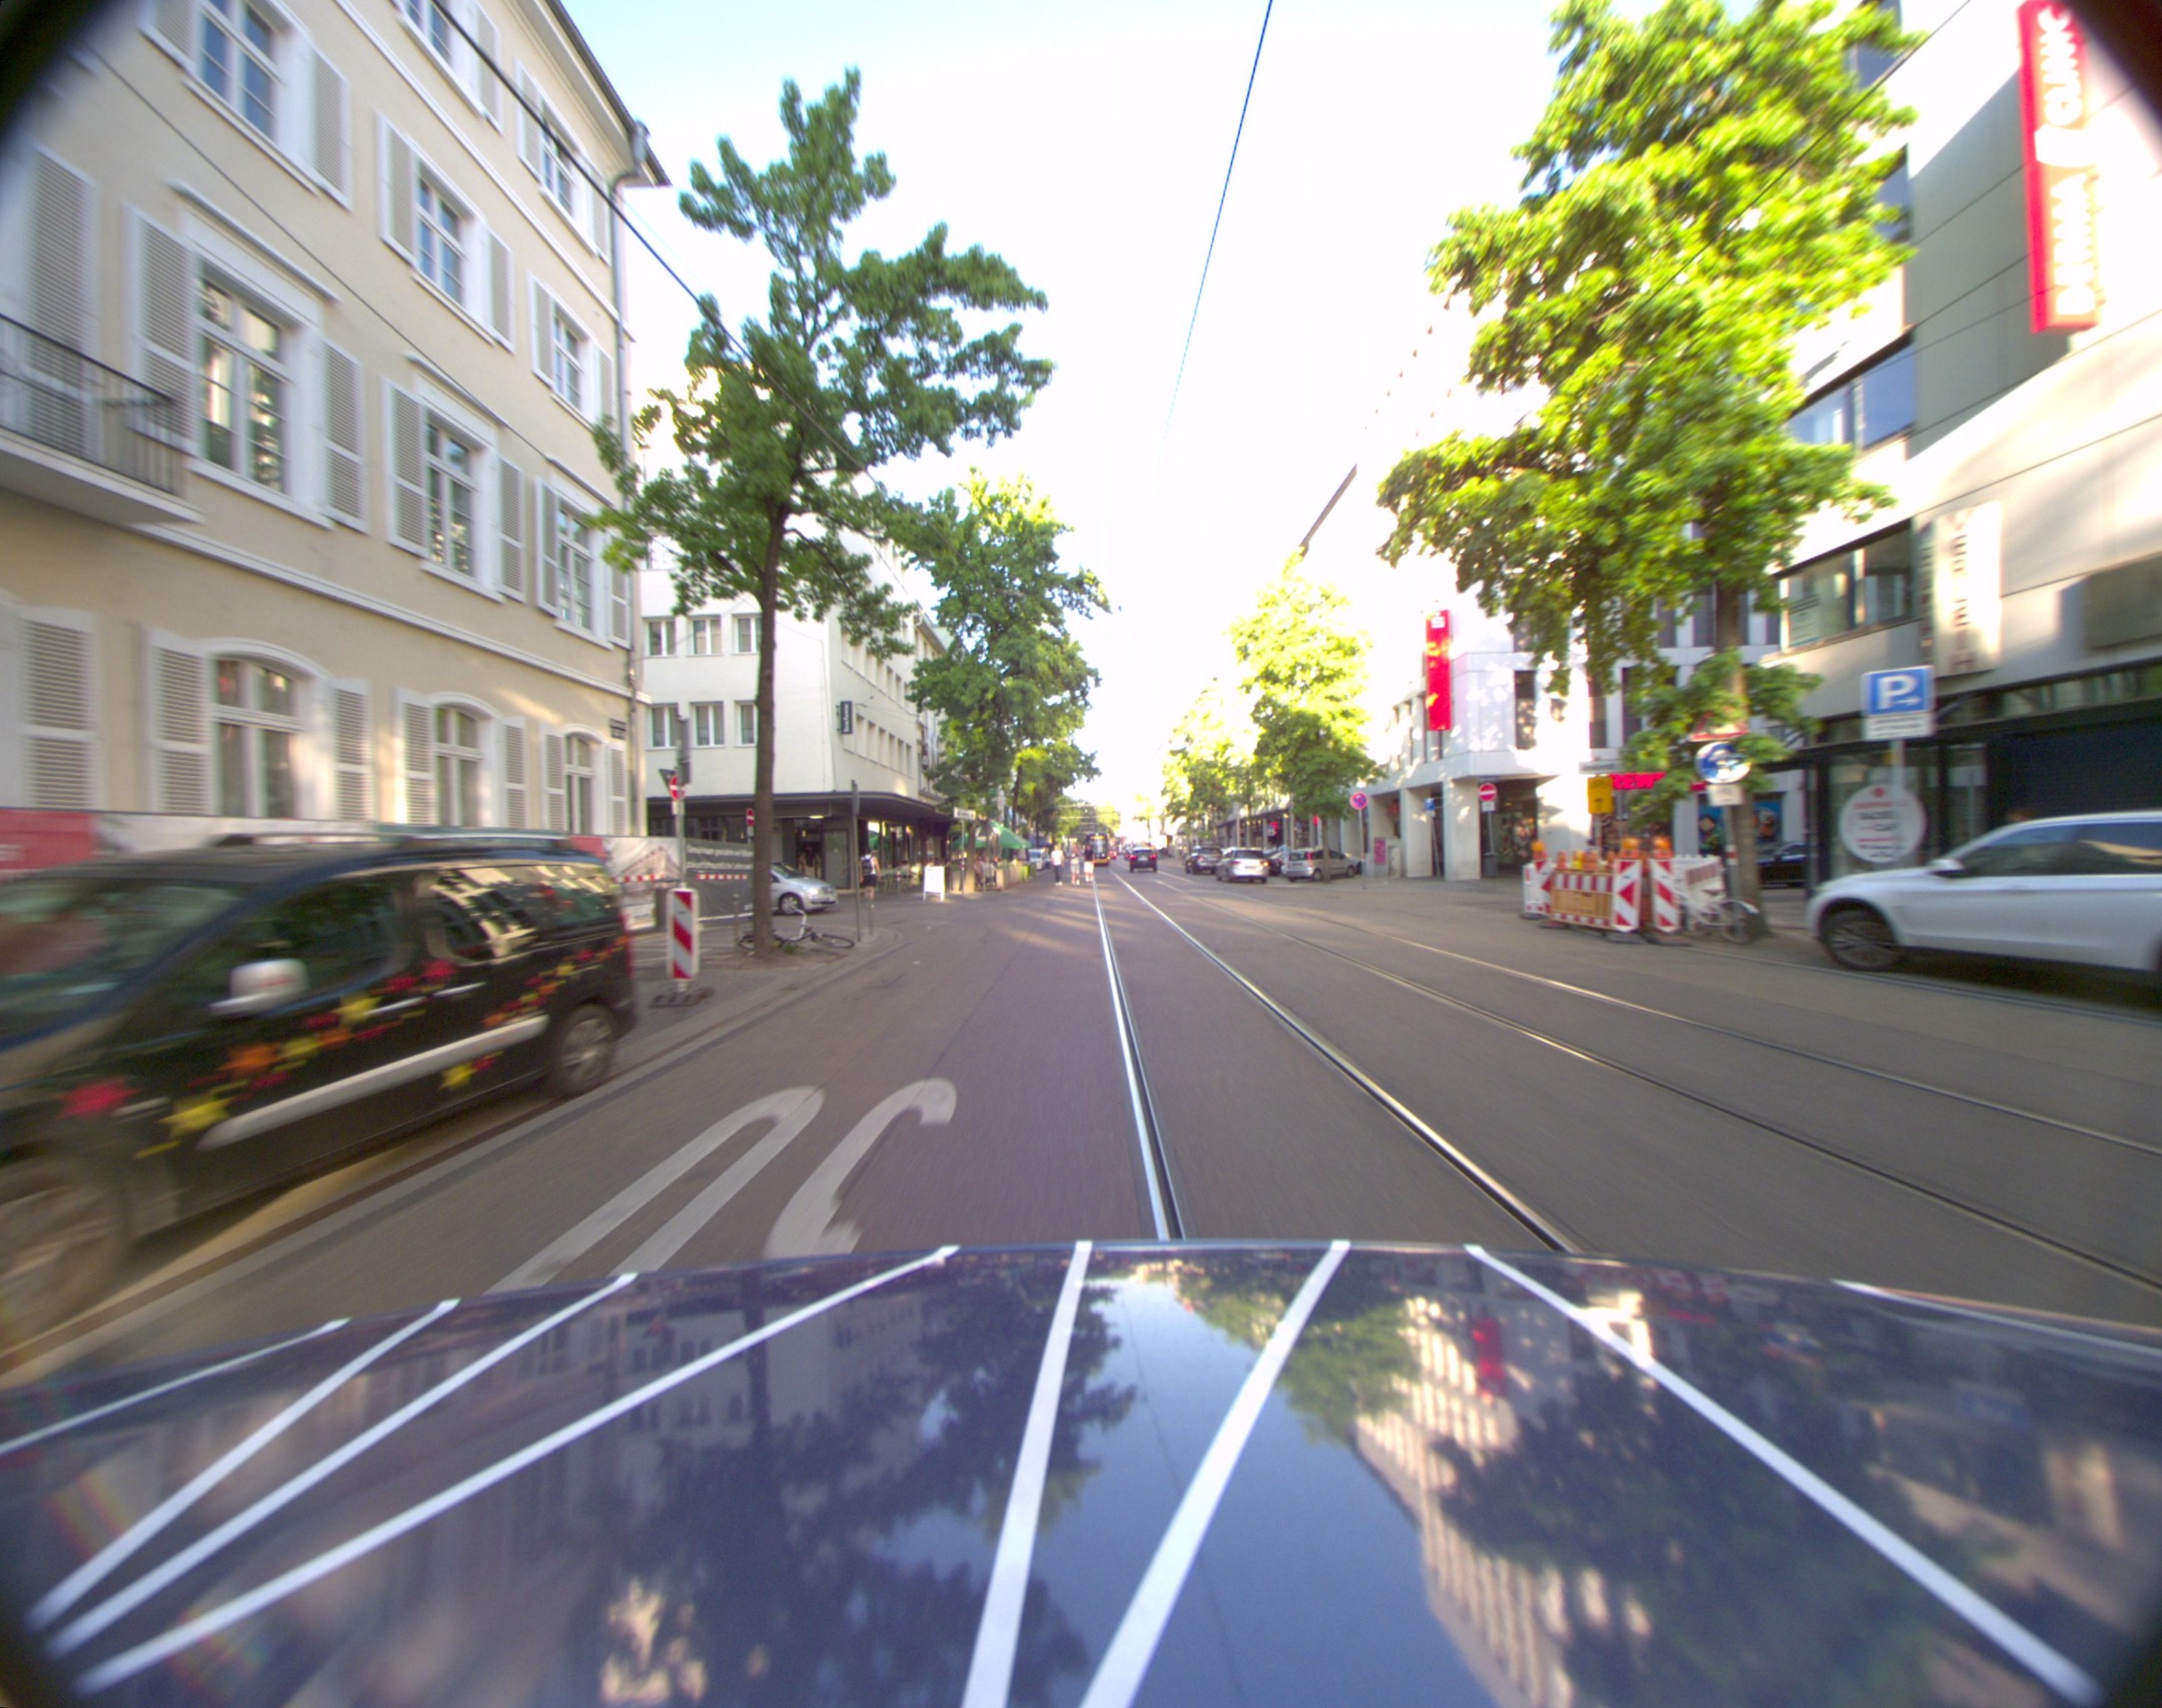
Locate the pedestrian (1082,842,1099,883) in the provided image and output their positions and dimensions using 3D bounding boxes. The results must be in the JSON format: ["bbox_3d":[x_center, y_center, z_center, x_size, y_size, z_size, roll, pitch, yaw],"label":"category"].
[{"bbox_3d":[0.466,0.405,36.606,0.772,1.922,0.873,-1,1,2],"label":"pedestrian"}]

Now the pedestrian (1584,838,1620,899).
[{"bbox_3d":[14.324,0.384,20.888,0.727,1.636,0.610,-2,1,-37],"label":"pedestrian"}]

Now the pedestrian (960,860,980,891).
[{"bbox_3d":[-4.794,0.918,32.961,0.716,1.321,0.624,-1,1,2],"label":"pedestrian"}]

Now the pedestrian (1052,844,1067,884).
[{"bbox_3d":[-1.036,0.486,36.777,0.598,1.922,0.873,-1,1,3],"label":"pedestrian"}]

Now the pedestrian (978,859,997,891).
[{"bbox_3d":[-4.051,0.900,32.920,0.716,1.321,0.624,-1,1,2],"label":"pedestrian"}]

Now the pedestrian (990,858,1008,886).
[{"bbox_3d":[-3.901,0.848,36.166,0.716,1.321,0.624,-1,1,2],"label":"pedestrian"}]

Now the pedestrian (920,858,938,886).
[{"bbox_3d":[-7.476,0.885,37.445,0.716,1.321,0.624,-1,1,2],"label":"pedestrian"}]

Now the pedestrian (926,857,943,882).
[{"bbox_3d":[-7.817,0.827,40.563,0.716,1.321,0.624,-1,1,2],"label":"pedestrian"}]

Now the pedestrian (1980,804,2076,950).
[{"bbox_3d":[13.417,0.318,10.775,0.616,2.002,0.592,-1,1,-1],"label":"pedestrian"}]

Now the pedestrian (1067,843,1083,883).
[{"bbox_3d":[-0.270,0.423,36.907,0.672,1.922,0.873,-1,1,3],"label":"pedestrian"}]

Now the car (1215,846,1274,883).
[{"bbox_3d":[7.525,0.454,35.334,1.889,1.602,4.200,0,0,0],"label":"car"}]

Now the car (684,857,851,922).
[{"bbox_3d":[-8.893,0.987,21.722,3.937,1.600,1.867,-2,2,8],"label":"car"}]

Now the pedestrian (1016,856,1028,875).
[{"bbox_3d":[-4.087,0.805,52.622,0.716,1.321,0.624,-1,1,2],"label":"pedestrian"}]

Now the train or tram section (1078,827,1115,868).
[{"bbox_3d":[1.659,-0.675,83.363,3.607,3.974,15.715,-1,0,1],"label":"train or tram section"}]

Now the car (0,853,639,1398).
[{"bbox_3d":[-4.510,0.911,3.726,1.956,1.782,4.316,0,1,4],"label":"car"}]

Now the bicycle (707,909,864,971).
[{"bbox_3d":[-4.716,1.349,12.271,1.753,0.744,1.566,0,1,18],"label":"bicycle"}]

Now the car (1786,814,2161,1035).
[{"bbox_3d":[9.787,0.542,7.059,1.998,1.744,4.744,-4,0,0],"label":"car"}]

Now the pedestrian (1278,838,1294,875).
[{"bbox_3d":[10.742,0.137,39.813,0.656,1.922,0.723,-1,1,2],"label":"pedestrian"}]

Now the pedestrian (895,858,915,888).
[{"bbox_3d":[-7.995,0.858,34.577,0.716,1.321,0.624,-1,1,2],"label":"pedestrian"}]

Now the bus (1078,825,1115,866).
[{"bbox_3d":[1.660,-0.872,84.183,3.607,3.974,15.715,-1,0,1],"label":"bus"}]

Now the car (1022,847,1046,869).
[{"bbox_3d":[-4.007,0.301,65.727,2.003,1.831,4.965,0,1,-2],"label":"car"}]

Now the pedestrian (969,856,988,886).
[{"bbox_3d":[-4.609,0.753,34.075,0.716,1.321,0.624,-1,1,2],"label":"pedestrian"}]

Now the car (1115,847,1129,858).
[{"bbox_3d":[6.213,-0.156,114.407,1.715,1.586,3.999,-1,0,-2],"label":"car"}]

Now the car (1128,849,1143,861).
[{"bbox_3d":[8.907,0.155,124.387,1.999,1.871,3.999,-1,0,-1],"label":"car"}]

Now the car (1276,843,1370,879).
[{"bbox_3d":[12.090,0.331,37.994,4.320,1.404,1.575,-5,2,-17],"label":"car"}]

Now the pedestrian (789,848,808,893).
[{"bbox_3d":[-11.135,0.649,29.948,0.625,1.756,0.715,-2,1,-25],"label":"pedestrian"}]

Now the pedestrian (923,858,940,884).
[{"bbox_3d":[-7.782,0.887,39.575,0.716,1.321,0.624,-1,1,2],"label":"pedestrian"}]

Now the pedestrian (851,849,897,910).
[{"bbox_3d":[-6.438,0.789,23.682,0.945,1.805,1.071,-2,3,8],"label":"pedestrian"}]

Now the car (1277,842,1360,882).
[{"bbox_3d":[10.958,0.361,35.014,3.405,1.551,1.785,-5,2,-32],"label":"car"}]

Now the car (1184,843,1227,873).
[{"bbox_3d":[7.818,0.228,47.993,2.039,1.796,4.200,-1,0,0],"label":"car"}]

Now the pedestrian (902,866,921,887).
[{"bbox_3d":[-7.963,1.051,35.767,0.716,0.927,0.624,-1,1,2],"label":"pedestrian"}]

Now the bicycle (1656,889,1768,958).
[{"bbox_3d":[9.412,1.006,11.407,0.503,0.832,1.535,-4,1,6],"label":"bicycle"}]

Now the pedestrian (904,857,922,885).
[{"bbox_3d":[-8.275,0.826,37.446,0.716,1.321,0.624,-1,1,2],"label":"pedestrian"}]

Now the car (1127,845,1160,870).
[{"bbox_3d":[4.429,0.226,54.553,2.039,1.677,4.200,-2,0,0],"label":"car"}]

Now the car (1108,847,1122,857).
[{"bbox_3d":[5.995,-0.362,134.517,2.218,1.849,3.999,-2,1,-1],"label":"car"}]
